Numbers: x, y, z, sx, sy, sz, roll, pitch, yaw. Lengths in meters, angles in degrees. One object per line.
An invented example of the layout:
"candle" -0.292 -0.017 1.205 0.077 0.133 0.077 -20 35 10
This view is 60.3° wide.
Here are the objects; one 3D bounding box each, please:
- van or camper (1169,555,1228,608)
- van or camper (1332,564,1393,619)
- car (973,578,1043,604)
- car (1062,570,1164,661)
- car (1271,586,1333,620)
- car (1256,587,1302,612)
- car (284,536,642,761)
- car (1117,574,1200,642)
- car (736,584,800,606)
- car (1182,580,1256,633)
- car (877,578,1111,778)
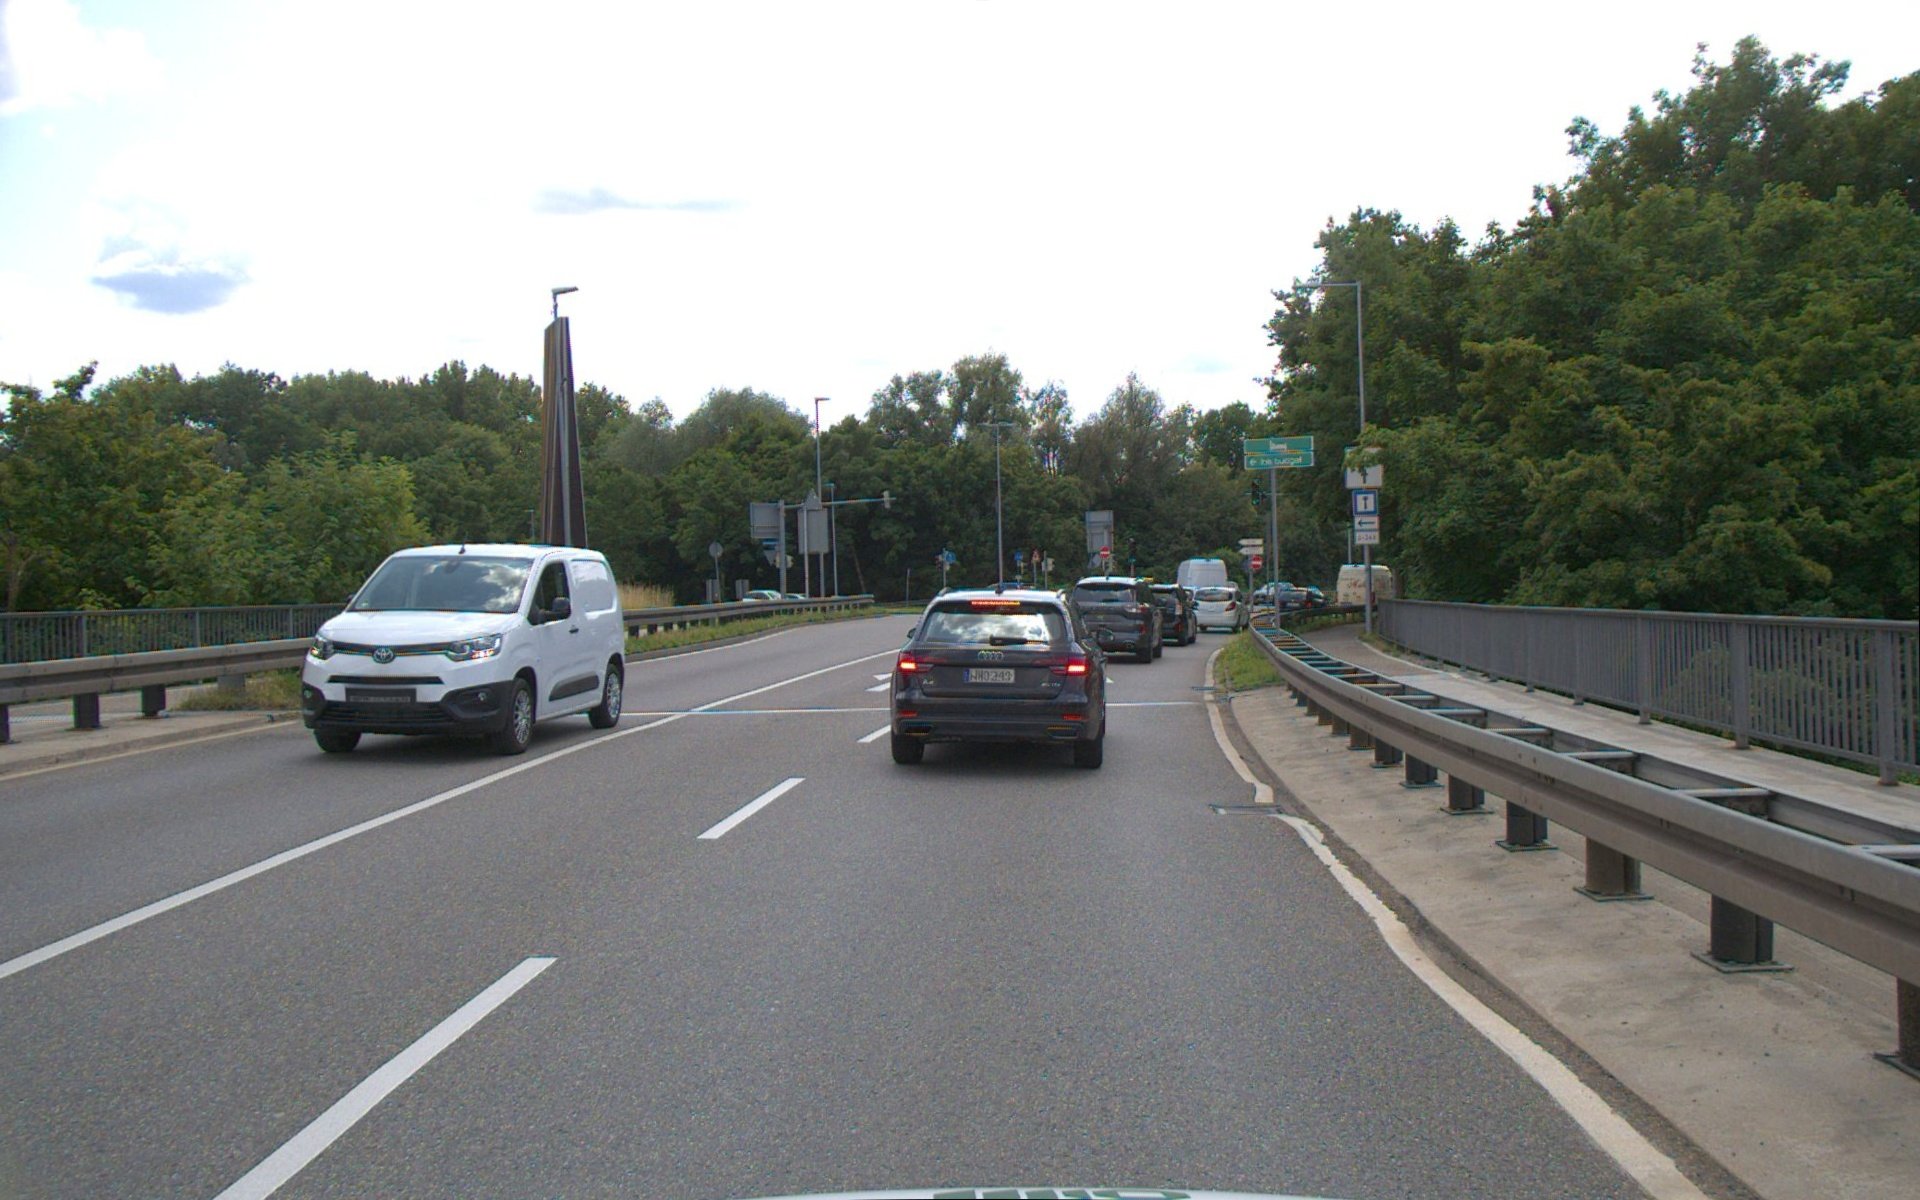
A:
"van or camper" 11.110 -0.854 77.396 2.225 2.381 5.243 1 0 3
"van or camper" 19.936 -0.465 81.841 1.956 2.635 4.084 1 1 29
"car" 2.761 -0.511 95.696 3.722 1.395 1.672 1 2 23
"car" 3.139 0.270 33.335 1.782 1.680 3.859 1 1 9
"car" 14.361 0.115 69.364 1.650 1.422 3.674 0 0 27
"car" 21.808 -0.022 112.982 1.956 1.651 3.993 1 0 29
"car" -4.418 0.364 15.440 1.775 1.784 4.308 1 1 4
"car" 5.204 0.176 43.035 1.696 1.680 3.859 0 1 14
"car" -10.690 -0.273 92.040 3.525 1.136 1.585 1 0 41
"car" 8.621 0.175 54.787 1.698 1.680 3.856 0 1 20
"car" 0.434 0.574 14.769 1.789 1.518 4.209 0 0 5
